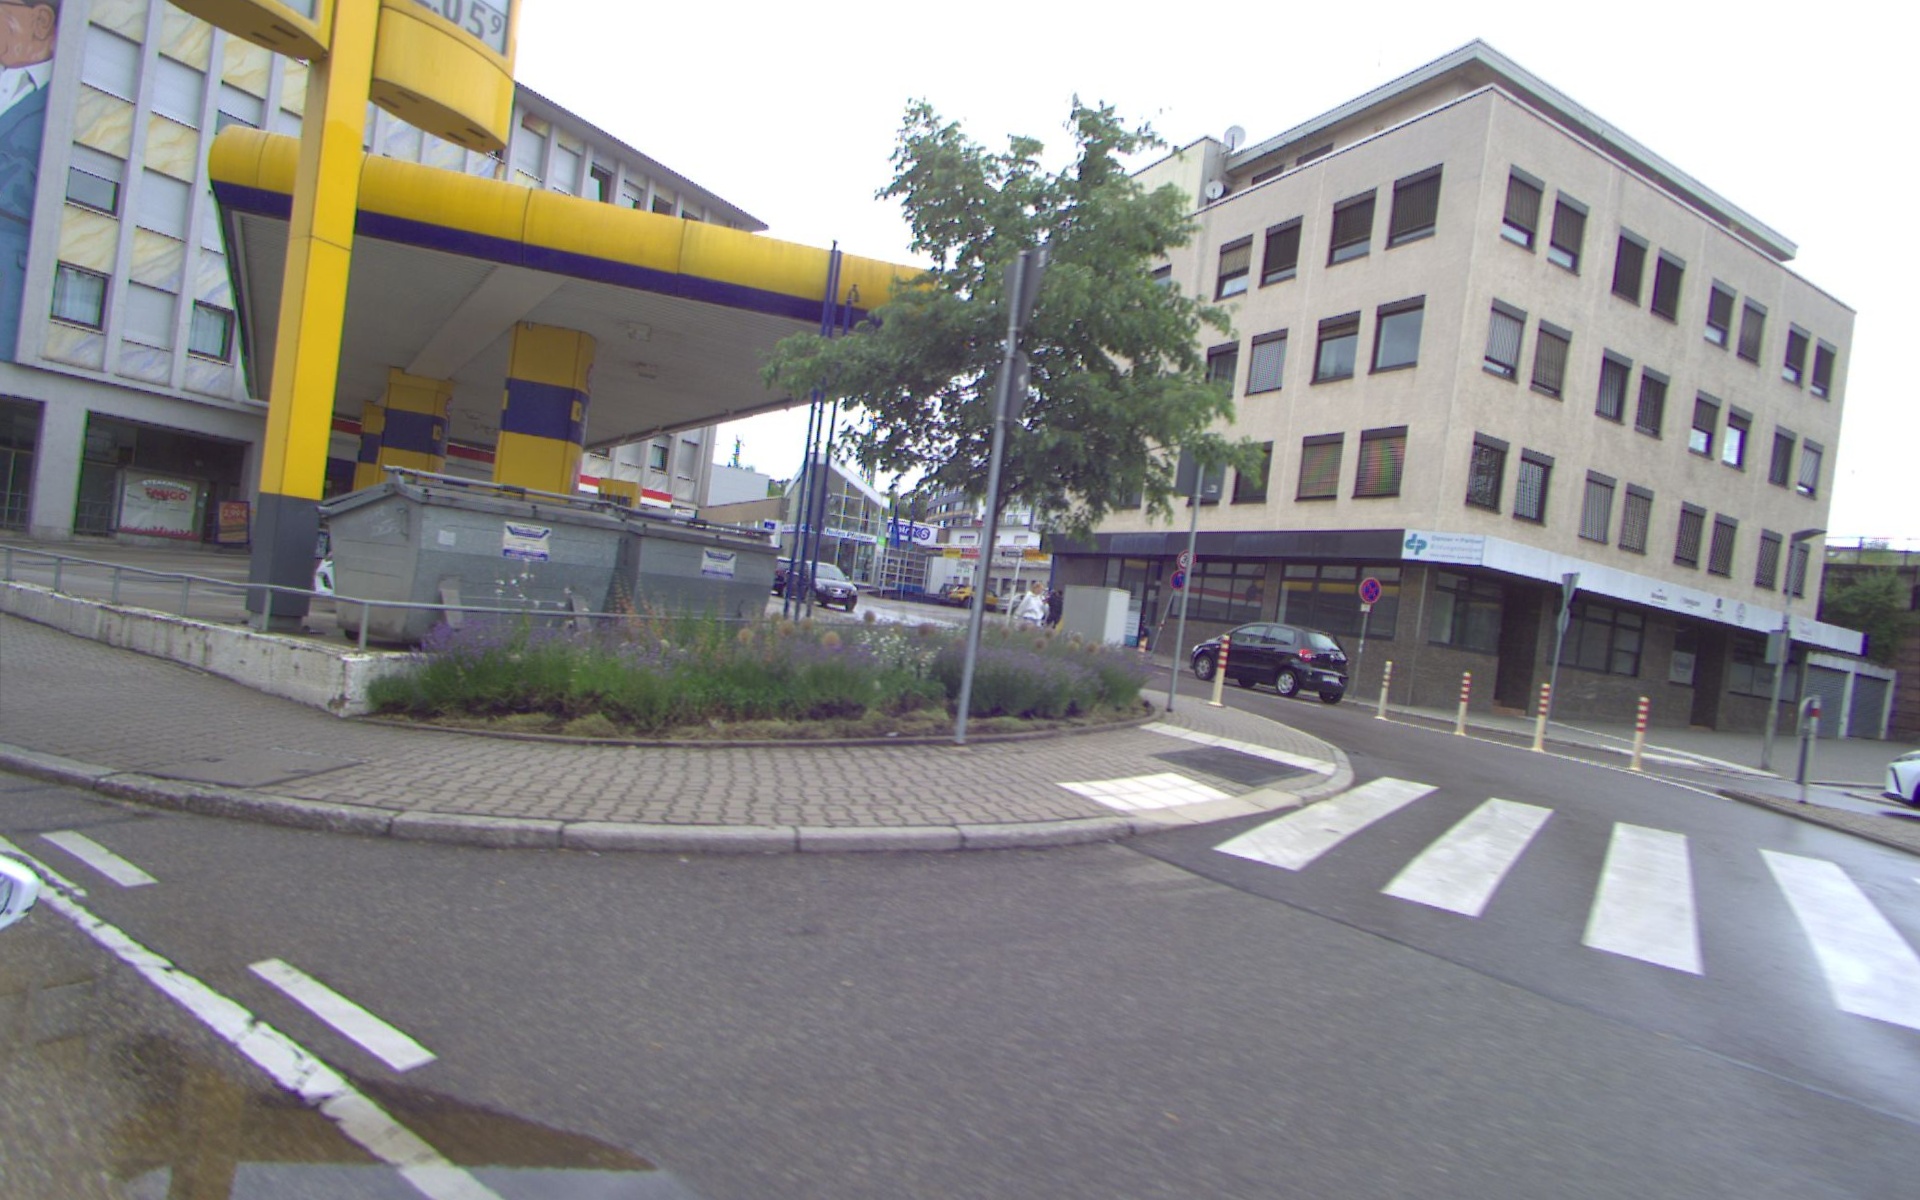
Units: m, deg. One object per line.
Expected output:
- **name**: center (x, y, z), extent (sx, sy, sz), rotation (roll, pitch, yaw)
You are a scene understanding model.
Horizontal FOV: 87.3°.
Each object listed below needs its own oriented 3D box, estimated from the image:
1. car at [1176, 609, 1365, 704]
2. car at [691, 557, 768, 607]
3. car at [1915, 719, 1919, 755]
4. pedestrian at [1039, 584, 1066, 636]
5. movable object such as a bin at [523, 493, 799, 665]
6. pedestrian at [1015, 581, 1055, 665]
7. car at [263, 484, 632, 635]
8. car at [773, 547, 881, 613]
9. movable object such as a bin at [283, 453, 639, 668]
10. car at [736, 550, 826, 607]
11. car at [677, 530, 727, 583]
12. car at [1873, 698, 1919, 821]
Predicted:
- **car**: center (6.808, 1.199, 22.413), extent (1.662, 1.510, 3.715), rotation (10, -1, -30)
- **car**: center (-10.399, -0.826, 45.059), extent (1.979, 1.886, 4.547), rotation (9, -2, -29)
- **car**: center (29.979, 4.134, 29.239), extent (1.965, 1.463, 4.476), rotation (7, 1, 28)
- **pedestrian**: center (3.251, 0.356, 35.317), extent (0.474, 1.762, 0.571), rotation (8, -1, -28)
- **movable object such as a bin**: center (-3.198, -0.190, 10.950), extent (1.744, 1.575, 2.156), rotation (7, 1, 32)
- **pedestrian**: center (1.436, 0.440, 19.341), extent (0.471, 1.532, 0.574), rotation (8, -1, -9)
- **car**: center (-6.487, -0.481, 13.222), extent (3.936, 1.460, 1.740), rotation (5, 1, -15)
- **car**: center (-4.714, -0.724, 35.058), extent (1.979, 1.886, 4.547), rotation (9, -2, -29)
- **movable object such as a bin**: center (-4.398, -0.306, 9.021), extent (1.744, 1.594, 2.157), rotation (7, 0, 32)
- **car**: center (-7.223, -0.893, 40.221), extent (1.979, 1.886, 4.547), rotation (9, -2, -29)
- **car**: center (-20.567, -3.436, 80.008), extent (2.358, 3.730, 4.960), rotation (8, -2, -28)
- **car**: center (13.801, 2.282, 11.790), extent (1.790, 1.494, 4.172), rotation (10, -2, -33)
